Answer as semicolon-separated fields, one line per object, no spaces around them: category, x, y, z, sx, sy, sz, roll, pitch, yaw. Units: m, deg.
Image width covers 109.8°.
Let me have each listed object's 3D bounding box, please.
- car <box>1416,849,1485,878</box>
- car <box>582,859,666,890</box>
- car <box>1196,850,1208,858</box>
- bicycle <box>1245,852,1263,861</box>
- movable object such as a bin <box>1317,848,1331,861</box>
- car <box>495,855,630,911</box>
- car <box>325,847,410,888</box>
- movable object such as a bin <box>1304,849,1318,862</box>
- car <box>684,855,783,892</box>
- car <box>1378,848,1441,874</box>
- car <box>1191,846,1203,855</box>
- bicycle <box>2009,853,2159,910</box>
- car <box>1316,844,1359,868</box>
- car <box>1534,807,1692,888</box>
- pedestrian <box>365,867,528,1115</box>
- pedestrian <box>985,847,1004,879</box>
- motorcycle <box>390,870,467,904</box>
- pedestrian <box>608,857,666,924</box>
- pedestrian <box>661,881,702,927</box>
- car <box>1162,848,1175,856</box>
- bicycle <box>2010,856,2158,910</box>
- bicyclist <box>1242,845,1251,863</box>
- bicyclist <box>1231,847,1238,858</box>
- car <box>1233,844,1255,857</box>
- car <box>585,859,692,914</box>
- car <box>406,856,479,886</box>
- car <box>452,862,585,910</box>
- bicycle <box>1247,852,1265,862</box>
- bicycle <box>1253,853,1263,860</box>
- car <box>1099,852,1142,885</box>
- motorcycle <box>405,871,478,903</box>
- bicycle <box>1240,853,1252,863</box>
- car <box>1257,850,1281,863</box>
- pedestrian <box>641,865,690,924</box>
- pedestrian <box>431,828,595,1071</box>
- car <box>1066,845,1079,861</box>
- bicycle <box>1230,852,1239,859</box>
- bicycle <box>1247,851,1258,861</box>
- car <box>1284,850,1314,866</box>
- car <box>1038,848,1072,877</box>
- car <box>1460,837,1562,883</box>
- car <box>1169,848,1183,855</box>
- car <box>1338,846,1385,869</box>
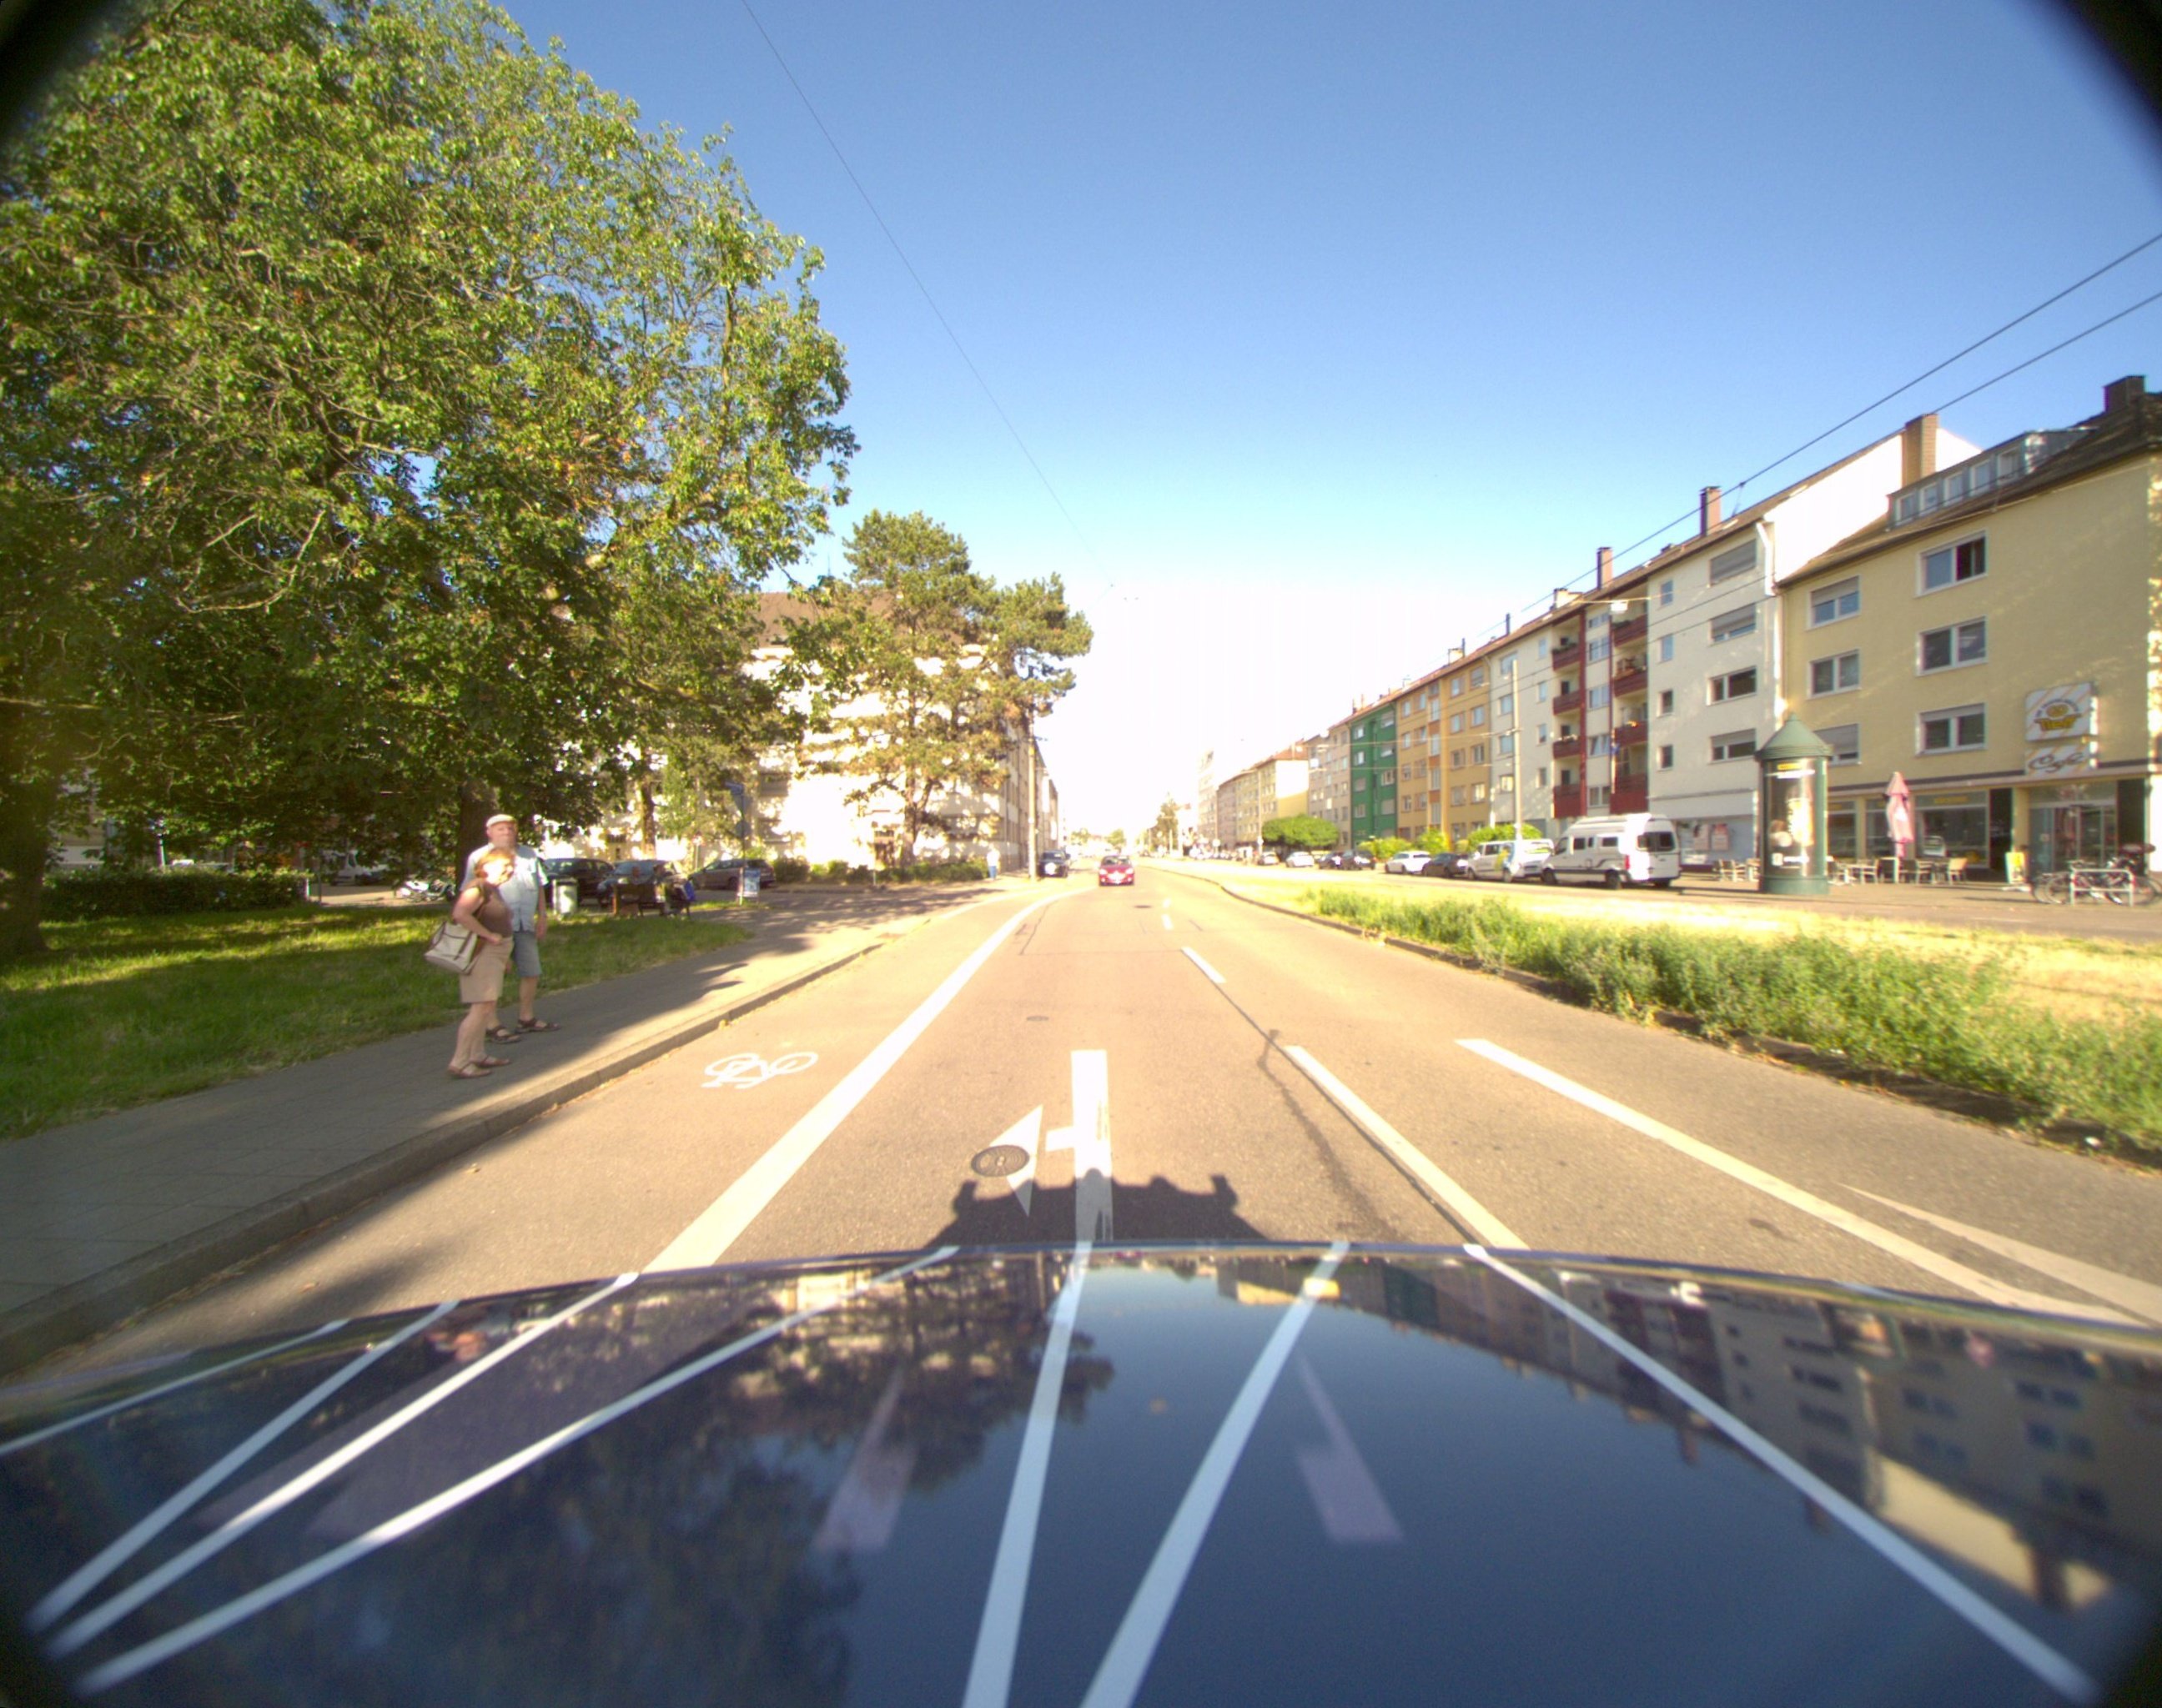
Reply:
car;20.911;0.494;43.193;1.699;1.506;4.325;-2;1;-2
car;-23.523;1.011;39.085;3.902;1.461;1.772;1;1;24
car;21.745;-0.041;136.523;1.698;1.440;4.217;0;0;1
bicycle;22.204;0.350;97.481;2.052;1.086;0.616;-3;1;6
movable object such as a bin;26.301;0.054;82.282;1.149;1.360;1.039;-3;1;3
car;-16.141;0.841;23.890;1.455;1.563;3.809;0;0;4
car;-48.356;0.899;51.488;5.306;2.428;2.129;-3;1;23
movable object such as a bin;24.954;0.131;82.324;1.149;1.360;1.039;-3;1;3
car;-16.342;0.879;35.769;4.294;1.493;1.771;0;4;24
car;21.006;0.427;48.803;1.897;1.483;4.702;-3;0;-2
car;26.664;-0.744;174.719;1.999;1.887;4.669;-3;0;-2
bicycle;23.345;0.612;17.735;0.520;1.245;2.085;-4;2;-33
car;21.317;0.153;63.326;1.998;1.827;4.609;-3;0;0
car;21.045;-0.258;30.530;2.037;2.852;6.228;-2;1;1
pedestrian;-4.184;0.861;5.051;0.530;1.520;0.627;1;1;6
pedestrian;-4.643;0.496;40.733;0.882;1.712;0.725;0;0;6
motorcycle;-21.784;1.096;25.396;1.785;1.066;0.713;2;-1;-16
pedestrian;-9.596;0.783;16.425;0.685;1.365;0.756;-3;1;27
pedestrian;-8.470;1.052;16.133;0.403;0.928;0.624;-3;-1;27
car;18.134;-0.400;158.189;1.788;1.519;4.413;0;0;-5
bicycle;23.791;0.659;18.072;0.520;1.177;2.084;-4;3;-33
bicyclist;18.861;-0.036;86.386;0.775;2.002;0.648;-3;1;0
bicyclist;19.960;-0.197;98.855;0.775;1.376;0.648;-1;1;0
car;26.206;-0.557;122.239;1.999;1.938;5.499;-3;0;-3
car;-13.347;0.929;23.185;1.641;1.485;3.804;0;0;-11
car;-39.712;1.041;47.239;3.991;1.602;1.802;-3;1;23
car;-19.027;1.033;25.962;1.640;1.432;4.239;0;0;-5
bicycle;21.941;0.375;95.175;2.052;1.086;0.616;-3;1;6
bicycle;21.627;0.349;93.013;0.377;0.861;2.052;-4;1;-11
car;1.807;0.648;35.619;1.862;1.461;3.808;0;0;1
motorcycle;-22.000;1.130;26.169;1.785;1.066;0.713;2;-1;-16
bicycle;18.767;0.460;86.360;0.770;1.139;2.474;1;1;1
car;21.467;0.271;86.669;1.640;1.434;3.733;-3;1;-2
pedestrian;-8.950;0.863;16.368;0.403;1.219;0.762;-3;1;27
pedestrian;-4.436;0.705;5.979;0.704;1.779;0.694;2;0;6
car;-1.553;-0.206;138.580;2.156;2.680;6.291;1;0;0
bicycle;19.986;0.168;98.785;0.770;0.874;2.068;1;1;1
bicycle;20.950;0.249;92.849;0.511;1.086;1.934;-4;1;-11
car;21.174;0.366;73.956;1.733;1.446;4.375;-2;0;1
car;-1.687;0.523;50.503;1.883;1.707;4.933;2;1;1
car;21.002;0.256;37.443;2.037;2.009;5.370;-3;0;1
car;18.910;-0.536;150.789;1.839;1.377;4.412;0;0;-6
car;21.321;0.261;57.999;1.998;1.598;4.150;-3;0;0
